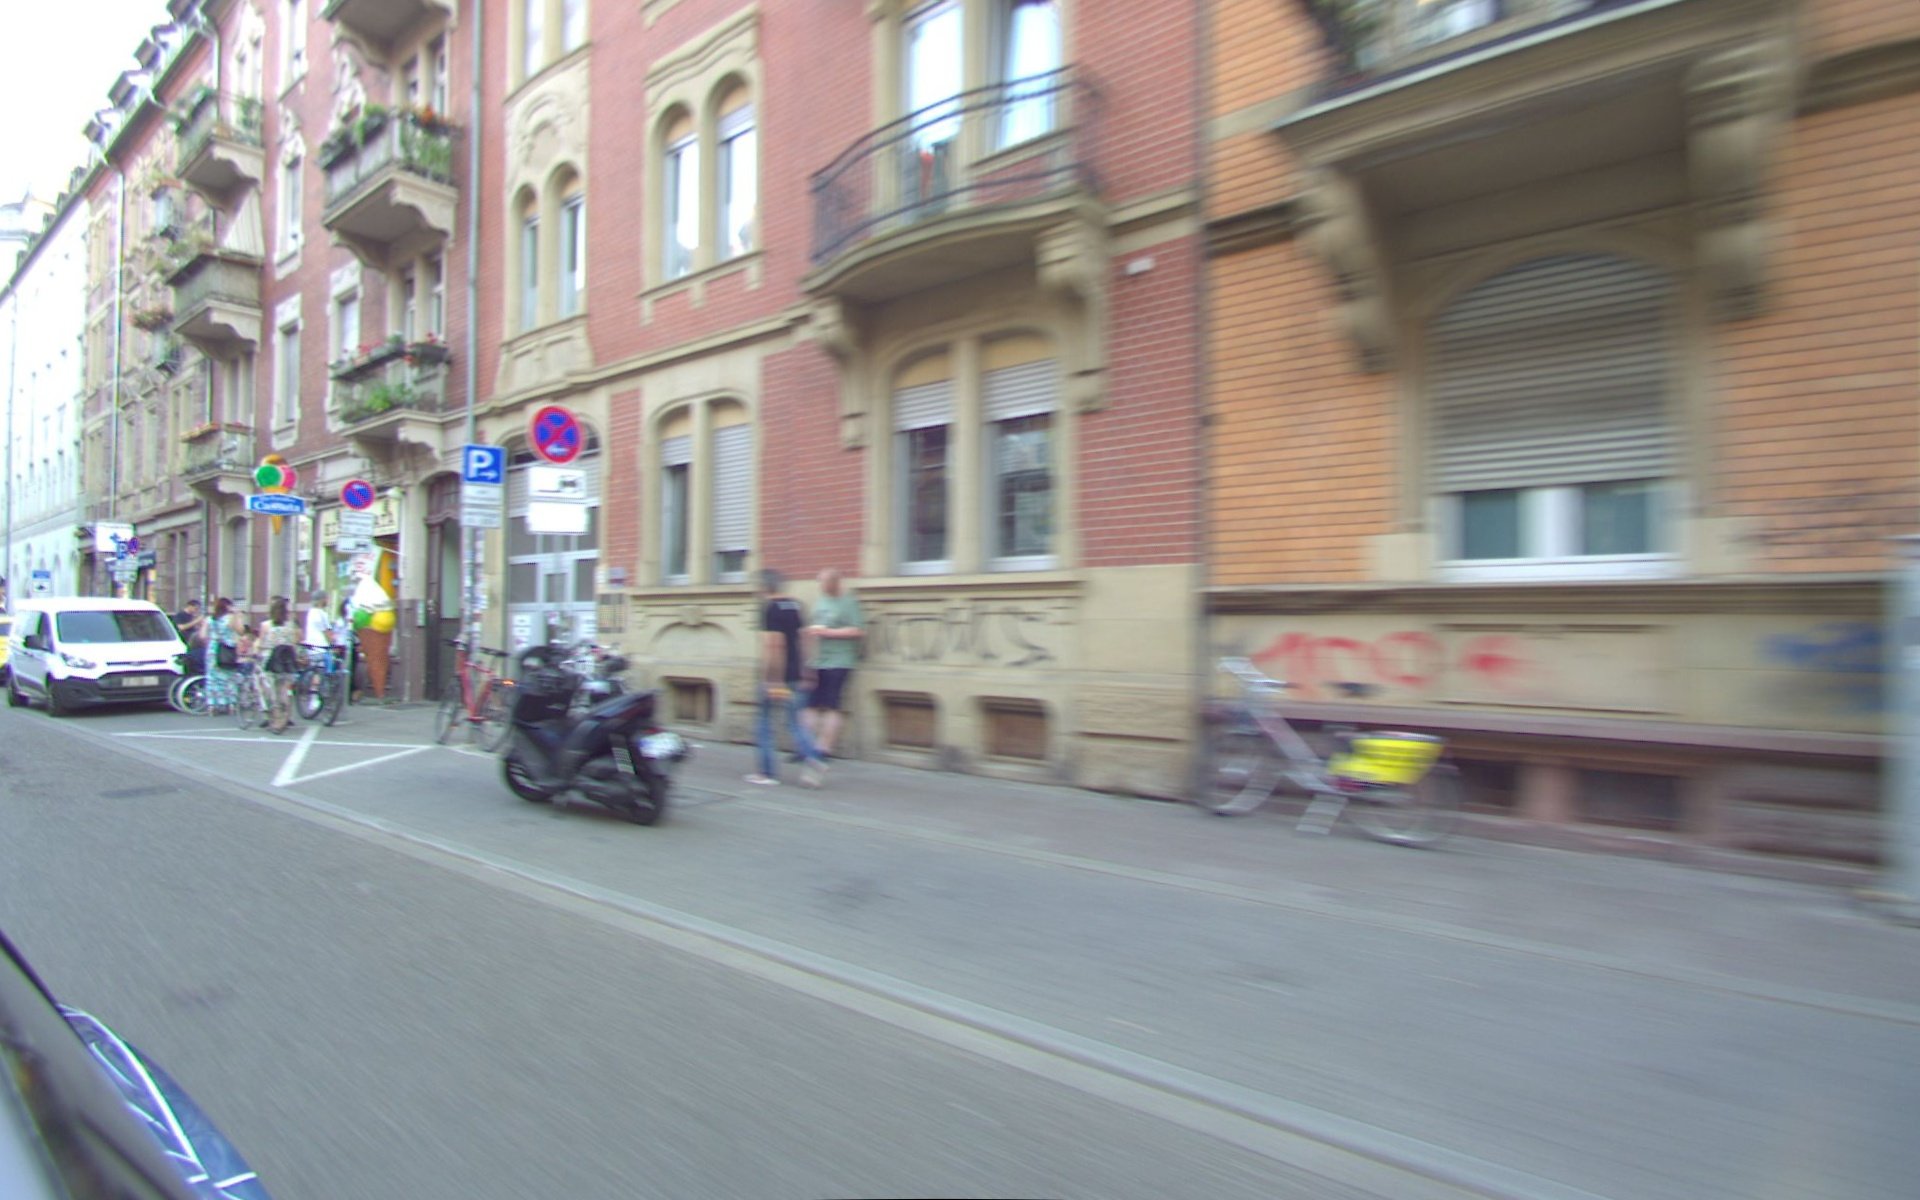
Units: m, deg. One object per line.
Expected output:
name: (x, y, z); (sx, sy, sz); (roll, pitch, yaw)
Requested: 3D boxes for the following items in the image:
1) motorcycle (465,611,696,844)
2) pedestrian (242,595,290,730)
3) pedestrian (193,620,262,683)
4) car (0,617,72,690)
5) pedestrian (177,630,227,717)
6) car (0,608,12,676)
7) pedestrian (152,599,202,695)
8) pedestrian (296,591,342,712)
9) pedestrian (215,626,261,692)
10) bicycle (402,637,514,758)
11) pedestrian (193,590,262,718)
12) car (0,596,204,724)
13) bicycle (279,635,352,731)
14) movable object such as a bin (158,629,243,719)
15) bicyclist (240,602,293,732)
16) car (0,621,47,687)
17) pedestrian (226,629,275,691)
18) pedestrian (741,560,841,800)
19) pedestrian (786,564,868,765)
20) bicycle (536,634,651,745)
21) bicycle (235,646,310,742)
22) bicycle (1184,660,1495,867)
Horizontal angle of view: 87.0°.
motorcycle: (-2.710, 0.786, 7.096); (2.014, 1.415, 0.677); (-1, 0, 42)
pedestrian: (-9.019, 0.800, 13.149); (0.350, 1.722, 0.414); (-1, 0, 34)
pedestrian: (-14.783, 1.026, 20.436); (0.503, 1.212, 1.029); (-1, 0, 37)
car: (-21.697, 1.178, 23.080); (3.791, 1.541, 1.687); (-1, -2, 41)
pedestrian: (-11.443, 1.088, 15.272); (0.652, 1.260, 0.473); (-1, 0, 40)
car: (-29.297, 1.210, 29.397); (4.900, 1.897, 1.908); (-1, -2, 39)
pedestrian: (-14.590, 0.859, 18.872); (0.610, 1.743, 0.587); (0, 0, -22)
pedestrian: (-9.986, 0.773, 15.769); (0.589, 1.828, 0.722); (0, 0, -32)
pedestrian: (-14.328, 1.149, 20.083); (0.584, 1.261, 0.613); (-1, 0, 38)
bicycle: (-5.423, 0.999, 10.877); (1.837, 1.168, 0.407); (-1, 0, 41)
pedestrian: (-10.816, 0.775, 14.945); (0.718, 1.828, 0.593); (-1, 0, 31)
car: (-14.053, 0.869, 16.418); (4.581, 1.802, 1.753); (-1, -1, 38)
bicycle: (-8.697, 1.075, 13.622); (0.460, 1.164, 2.002); (0, 0, -43)
movable object such as a bin: (-11.436, 1.088, 15.235); (0.775, 1.260, 0.878); (-1, 0, 40)
bicyclist: (-8.763, 0.829, 12.783); (0.487, 1.602, 0.460); (-1, -1, 43)
car: (-25.155, 1.362, 26.131); (3.968, 1.608, 1.907); (-1, -2, 41)
pedestrian: (-13.659, 1.138, 19.484); (0.572, 1.148, 0.625); (-1, 0, 38)
pedestrian: (-1.396, 0.608, 8.260); (0.672, 1.824, 0.964); (0, 0, -17)
pedestrian: (-1.249, 0.583, 9.484); (0.642, 1.803, 0.458); (-1, -1, 43)
bicycle: (-4.275, 0.995, 11.725); (1.837, 1.168, 0.407); (-1, 0, 41)
bicycle: (-8.588, 1.138, 12.617); (1.520, 1.076, 0.460); (-1, 0, 43)
bicycle: (2.266, 0.928, 6.203); (1.739, 1.038, 0.443); (-1, 0, 41)
